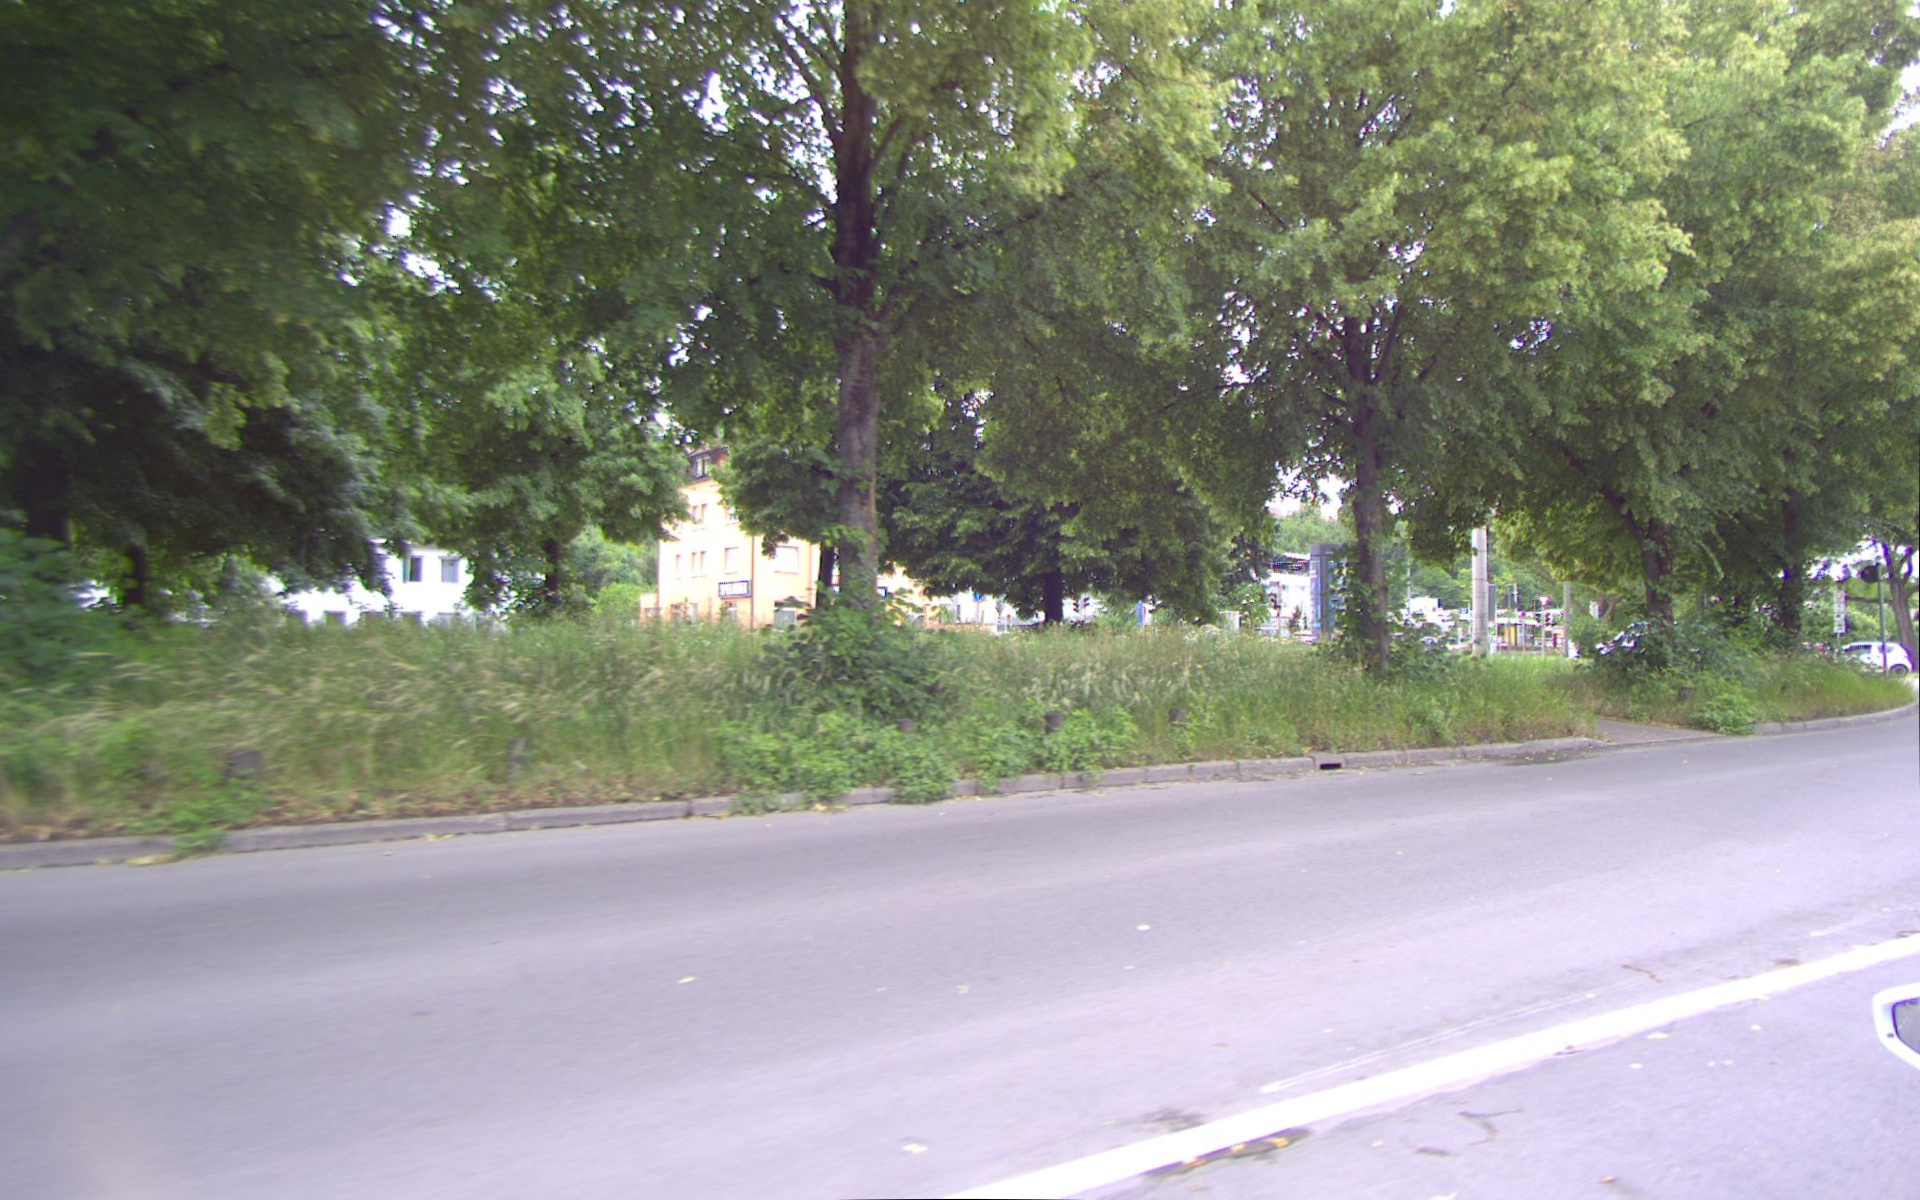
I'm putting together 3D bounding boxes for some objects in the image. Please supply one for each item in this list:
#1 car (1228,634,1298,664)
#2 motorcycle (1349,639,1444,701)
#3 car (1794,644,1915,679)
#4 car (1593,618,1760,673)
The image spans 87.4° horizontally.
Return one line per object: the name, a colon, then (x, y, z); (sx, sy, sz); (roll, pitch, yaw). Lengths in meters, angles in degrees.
car: (14.505, 2.345, 48.132); (2.834, 1.367, 1.557); (1, -2, -19)
motorcycle: (8.662, 1.363, 19.909); (2.009, 1.183, 0.563); (1, -3, -27)
car: (37.883, 2.580, 42.664); (3.554, 1.428, 1.737); (-1, -3, 32)
car: (33.975, 2.167, 47.858); (2.372, 2.418, 6.029); (2, -3, -36)
